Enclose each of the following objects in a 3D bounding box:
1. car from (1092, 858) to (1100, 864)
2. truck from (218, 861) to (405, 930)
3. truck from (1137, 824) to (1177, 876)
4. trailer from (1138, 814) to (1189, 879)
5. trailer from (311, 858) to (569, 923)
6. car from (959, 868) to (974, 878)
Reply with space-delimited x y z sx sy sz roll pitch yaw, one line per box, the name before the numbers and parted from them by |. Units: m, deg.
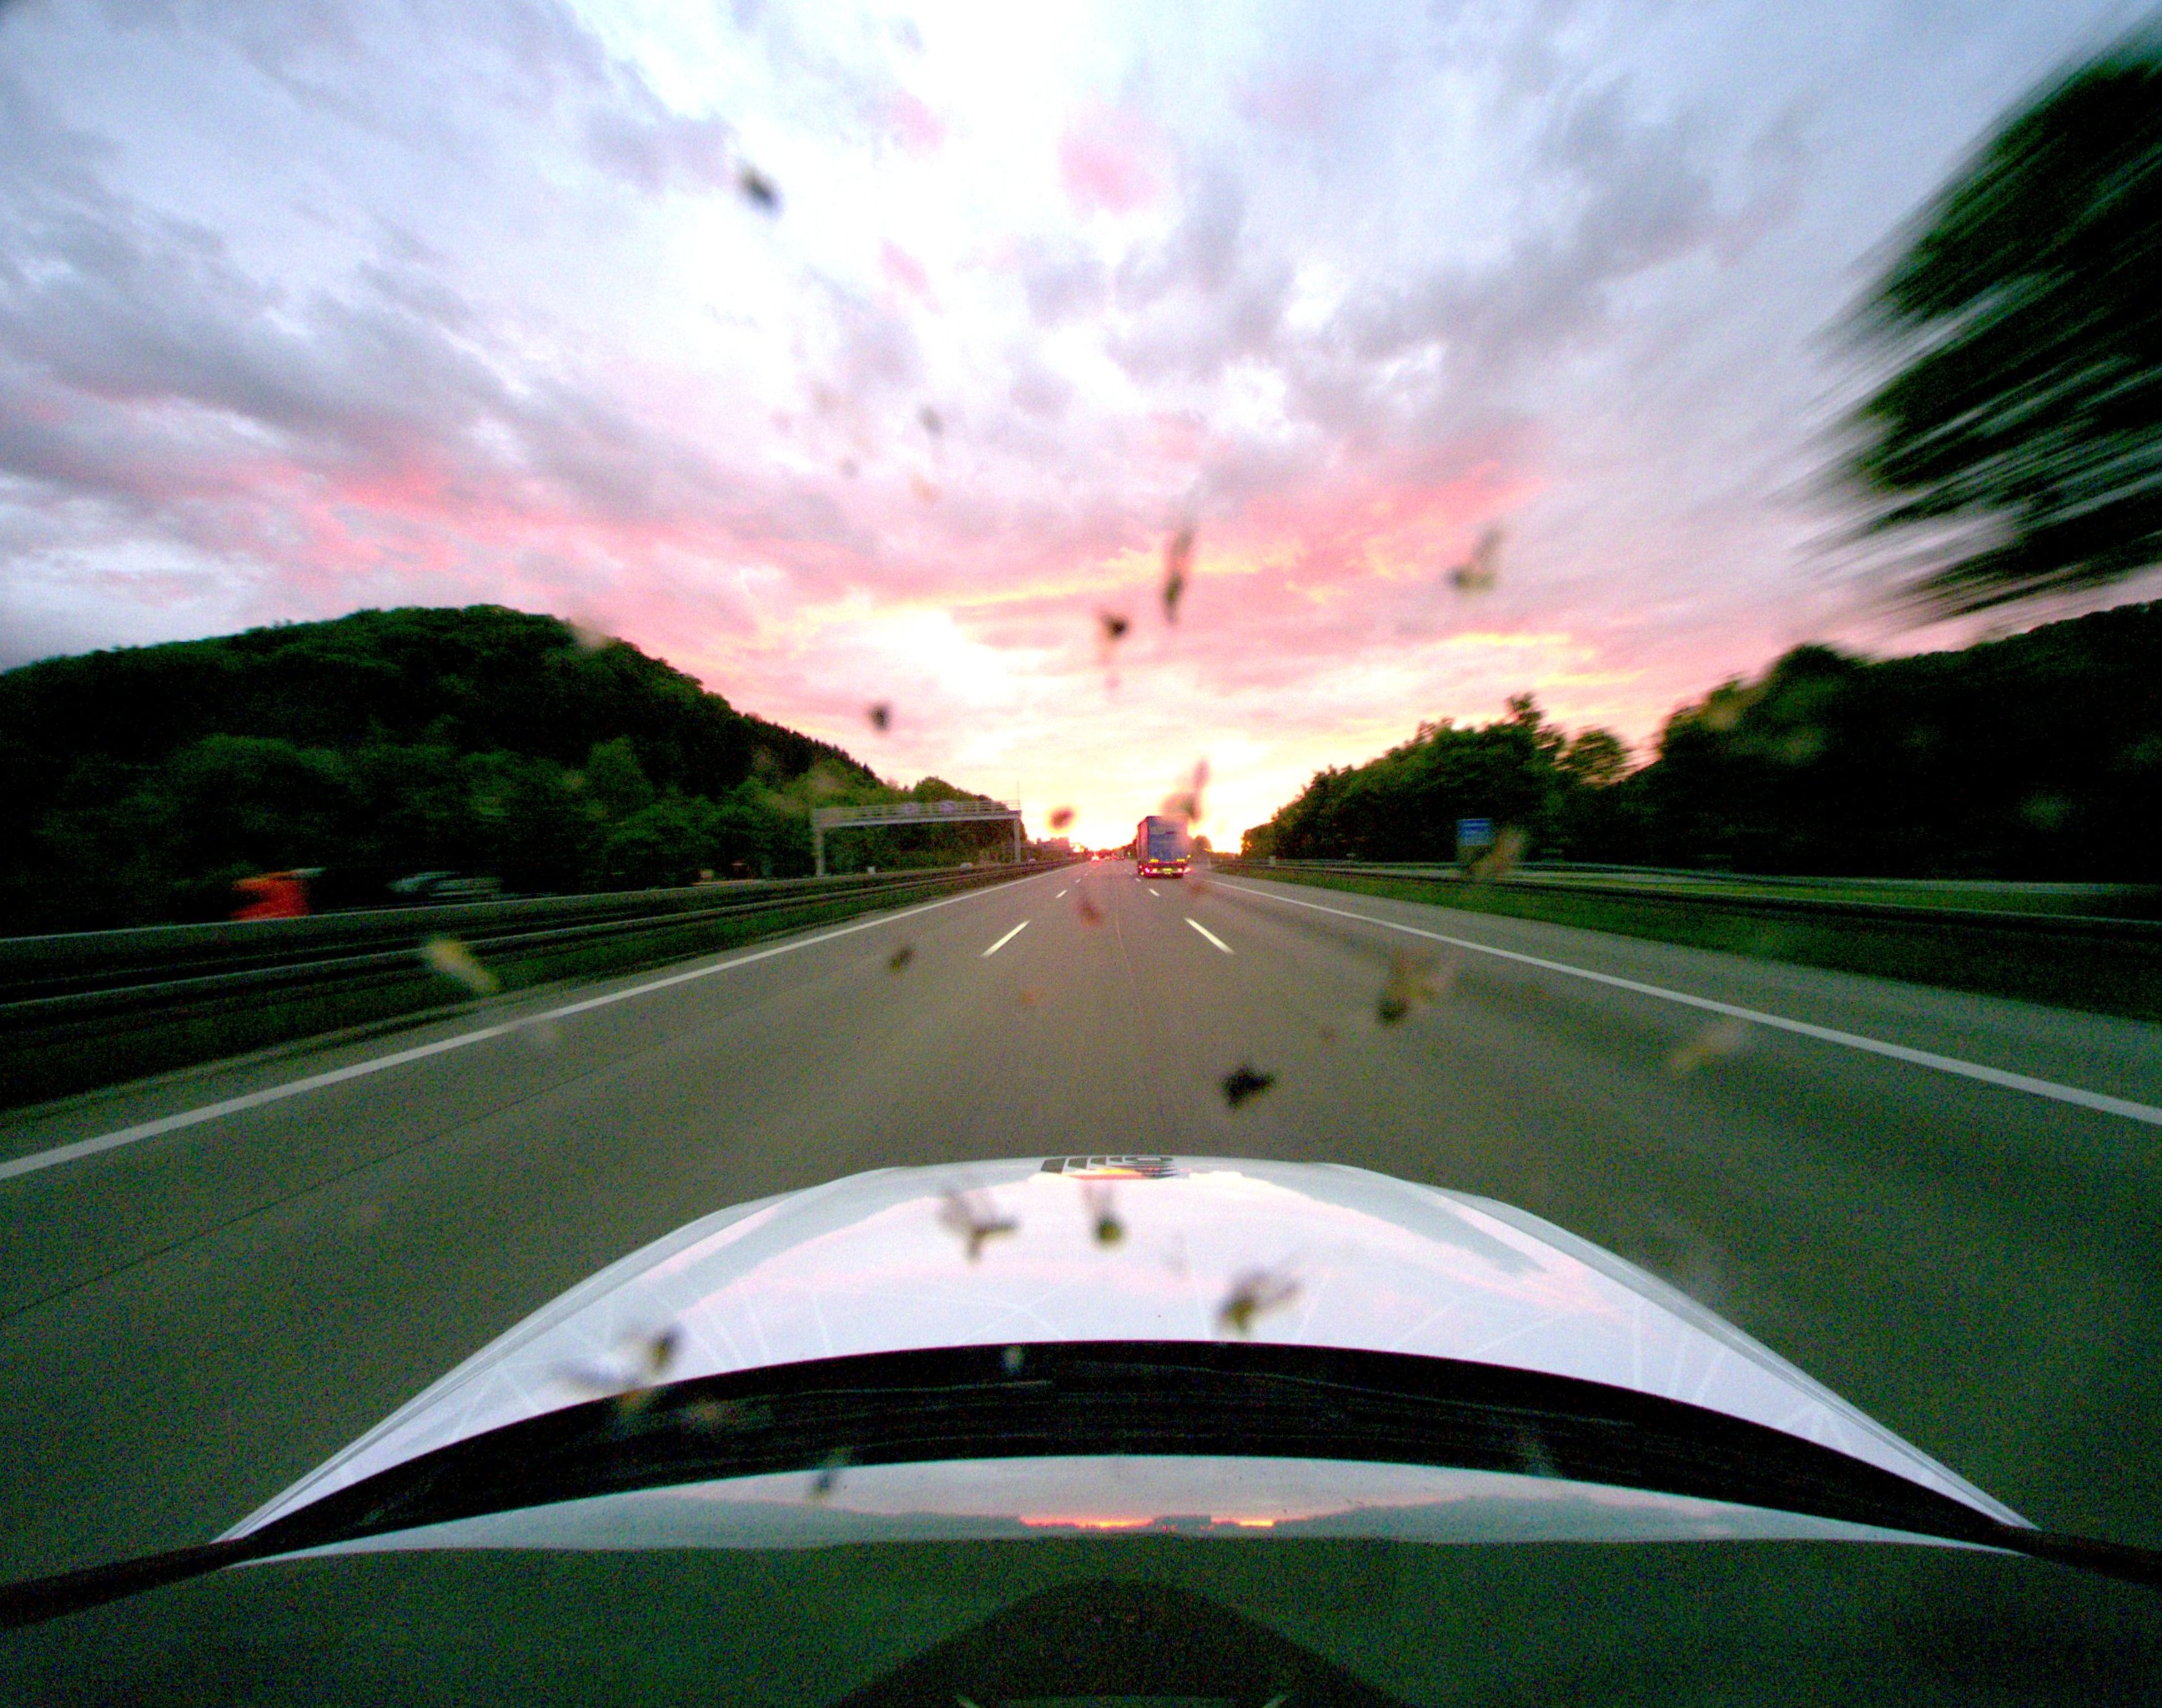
car | 4.429 2.032 240.411 2.006 1.749 3.904 -5 0 1
truck | -46.374 2.388 49.387 2.975 3.679 7.727 -1 0 32
truck | 5.999 -0.282 65.103 2.726 3.996 5.852 -1 -1 2
trailer | 5.701 -0.429 58.451 2.761 4.086 13.747 -1 -1 2
trailer | -42.687 2.262 55.227 3.032 3.679 13.428 -1 0 32
car | -16.441 2.744 117.057 1.635 1.421 3.537 -1 0 1
